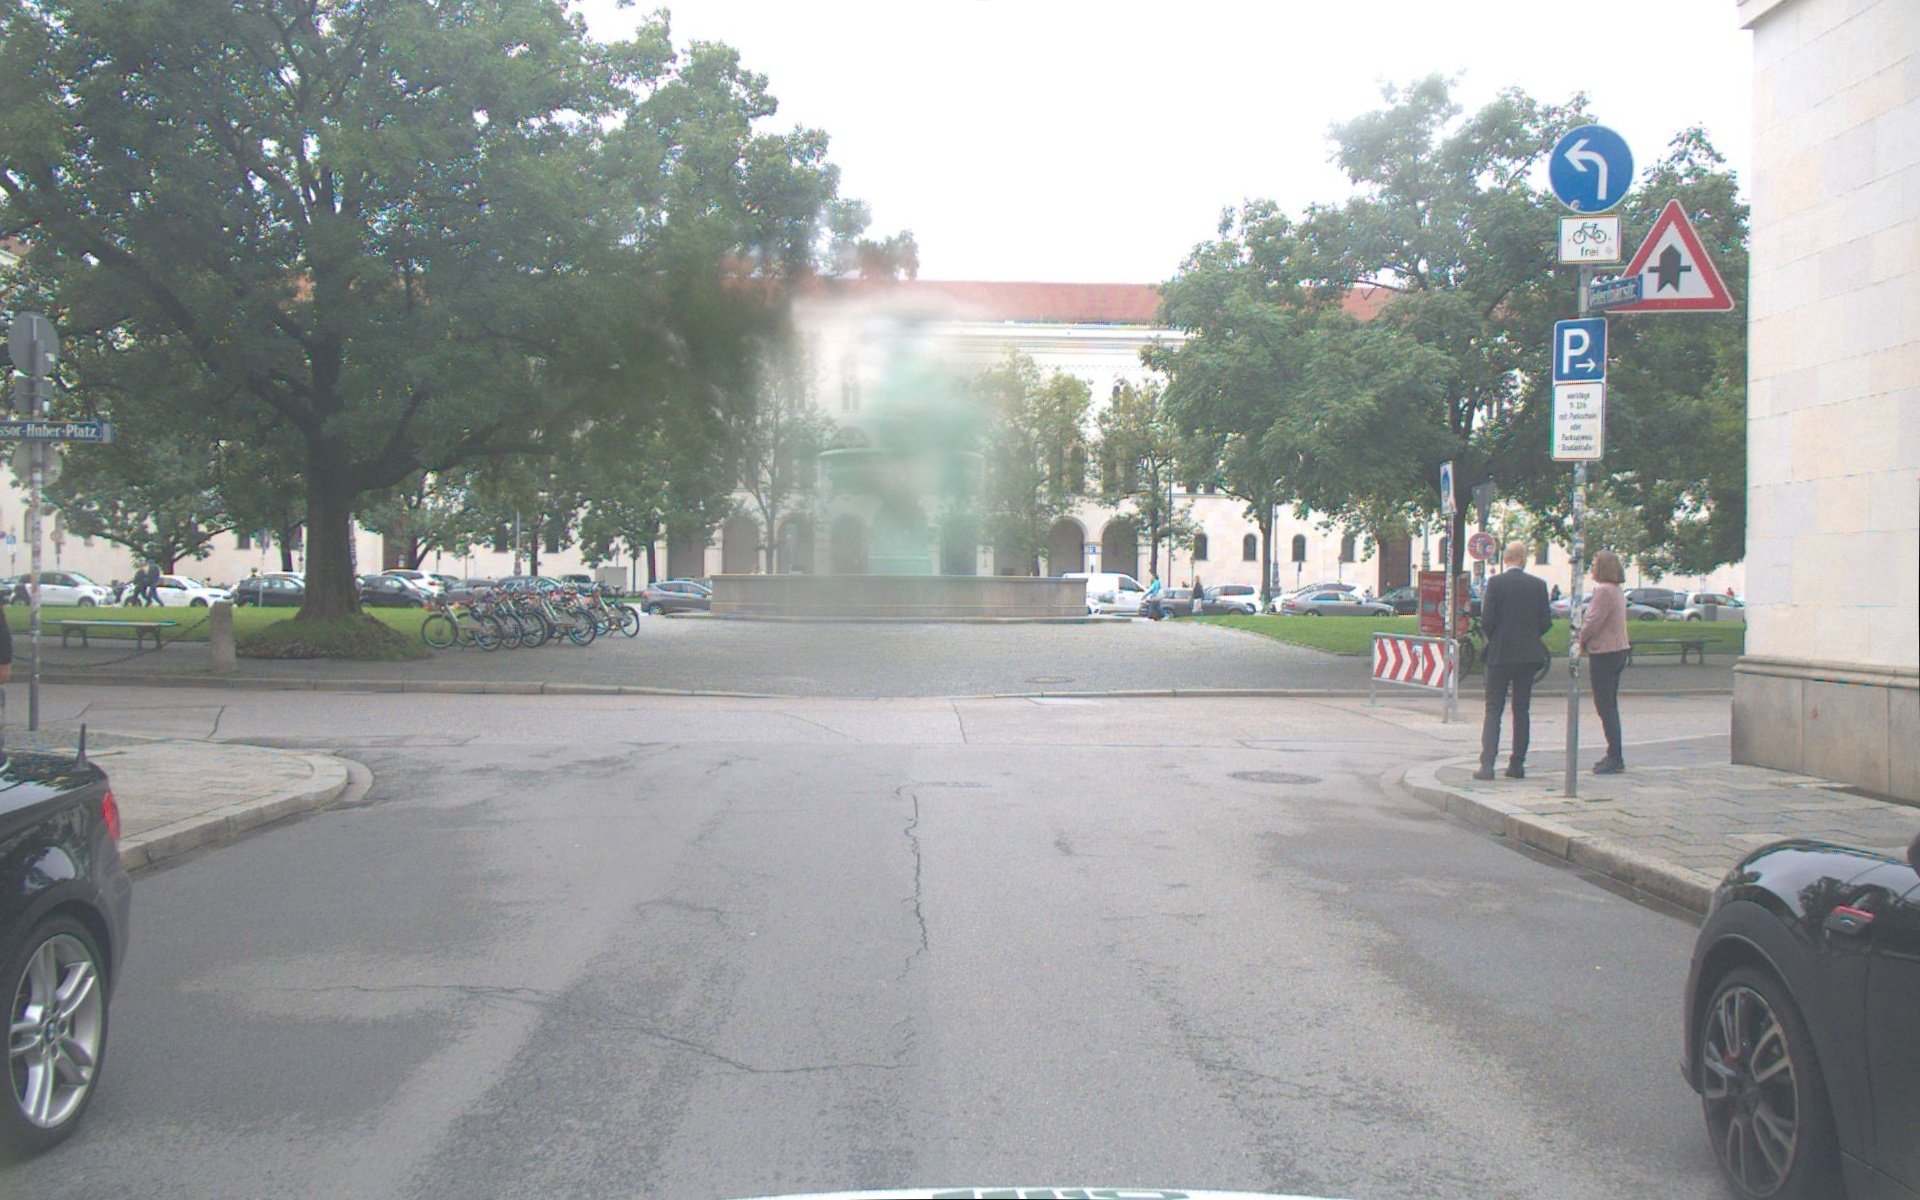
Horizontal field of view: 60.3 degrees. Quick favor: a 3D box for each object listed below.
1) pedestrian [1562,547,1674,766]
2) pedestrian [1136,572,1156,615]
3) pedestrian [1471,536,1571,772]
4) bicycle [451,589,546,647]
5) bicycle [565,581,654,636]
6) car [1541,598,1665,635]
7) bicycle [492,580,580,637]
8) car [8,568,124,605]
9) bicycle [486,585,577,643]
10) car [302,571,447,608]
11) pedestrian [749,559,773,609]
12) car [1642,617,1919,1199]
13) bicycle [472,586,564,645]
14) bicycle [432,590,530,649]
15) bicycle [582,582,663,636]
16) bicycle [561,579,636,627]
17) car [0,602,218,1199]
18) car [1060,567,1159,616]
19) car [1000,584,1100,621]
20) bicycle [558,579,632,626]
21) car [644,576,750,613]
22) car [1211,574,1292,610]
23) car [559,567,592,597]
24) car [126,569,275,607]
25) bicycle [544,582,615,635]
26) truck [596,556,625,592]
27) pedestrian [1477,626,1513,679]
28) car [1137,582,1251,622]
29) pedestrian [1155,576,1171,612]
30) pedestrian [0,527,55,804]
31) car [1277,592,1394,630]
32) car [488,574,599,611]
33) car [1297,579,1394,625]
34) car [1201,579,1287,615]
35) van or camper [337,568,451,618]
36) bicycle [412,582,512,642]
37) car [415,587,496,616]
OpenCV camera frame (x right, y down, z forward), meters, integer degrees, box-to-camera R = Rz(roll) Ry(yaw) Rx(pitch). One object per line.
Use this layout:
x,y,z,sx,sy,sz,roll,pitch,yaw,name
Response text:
5.299,0.445,13.333,0.609,1.711,0.545,2,0,-8,pedestrian
6.611,-0.234,58.717,0.570,1.491,0.548,0,1,21,pedestrian
4.461,0.418,13.176,0.628,1.839,0.489,0,1,3,pedestrian
-8.827,0.338,31.636,1.584,1.054,0.699,1,1,9,bicycle
-7.404,0.172,34.955,1.673,1.118,0.699,1,1,9,bicycle
25.794,0.648,66.407,4.268,1.443,1.803,0,1,-1,car
-8.733,0.170,34.064,1.584,1.118,0.699,1,1,9,bicycle
-34.534,-0.520,63.943,3.599,1.400,1.602,0,1,-4,car
-8.573,0.271,33.112,1.584,1.118,0.699,1,1,9,bicycle
-22.883,-0.431,64.823,4.972,1.400,1.999,0,1,-4,car
-6.702,-0.551,55.729,0.735,1.668,0.710,0,1,-2,pedestrian
2.761,0.790,2.895,1.509,1.451,3.771,1,0,-1,car
-8.657,0.294,32.395,1.584,1.118,0.699,1,1,9,bicycle
-8.947,0.360,30.915,1.584,1.054,0.699,1,1,9,bicycle
-7.273,0.185,35.636,1.584,1.118,0.617,1,1,9,bicycle
-8.191,0.070,37.497,1.503,1.037,0.699,1,1,9,bicycle
-3.095,0.734,3.019,1.664,1.417,4.210,-1,0,-2,car
6.626,-0.383,73.451,4.236,2.048,1.824,1,1,1,car
3.554,0.097,65.804,3.905,1.427,1.825,0,1,0,car
-8.461,0.051,38.381,1.503,1.037,0.699,1,1,9,bicycle
-10.326,-0.237,65.160,3.908,1.400,1.999,0,1,-4,car
15.596,-0.437,88.709,3.908,1.815,1.930,1,1,-4,car
-27.252,-1.308,117.096,2.097,2.048,4.175,1,1,-15,car
-29.421,-0.476,64.183,4.869,1.400,1.999,0,1,-4,car
-8.384,0.183,36.479,1.371,1.118,0.657,1,1,9,bicycle
-25.170,-1.911,119.147,1.959,2.532,3.987,1,1,-13,truck
8.156,0.799,25.238,0.406,0.776,0.460,1,1,2,pedestrian
9.274,0.079,65.759,4.268,1.551,1.803,0,1,-1,car
7.198,-0.215,58.601,0.434,1.235,0.535,0,1,24,pedestrian
-6.554,0.420,10.950,0.739,1.780,0.689,0,1,-4,pedestrian
15.021,0.428,66.221,4.268,1.443,1.803,0,1,-1,car
-16.273,-0.311,64.726,3.908,1.400,1.999,0,1,-4,car
17.984,0.066,77.243,3.912,2.048,1.997,1,1,-8,car
14.465,-0.167,84.320,4.018,1.771,1.745,1,1,-6,car
-25.744,-0.315,75.344,4.490,2.049,1.998,-2,0,-5,van or camper
-9.078,0.214,30.169,1.584,1.054,0.699,1,1,9,bicycle
-25.191,0.050,82.687,3.599,1.400,1.602,0,1,-4,car
